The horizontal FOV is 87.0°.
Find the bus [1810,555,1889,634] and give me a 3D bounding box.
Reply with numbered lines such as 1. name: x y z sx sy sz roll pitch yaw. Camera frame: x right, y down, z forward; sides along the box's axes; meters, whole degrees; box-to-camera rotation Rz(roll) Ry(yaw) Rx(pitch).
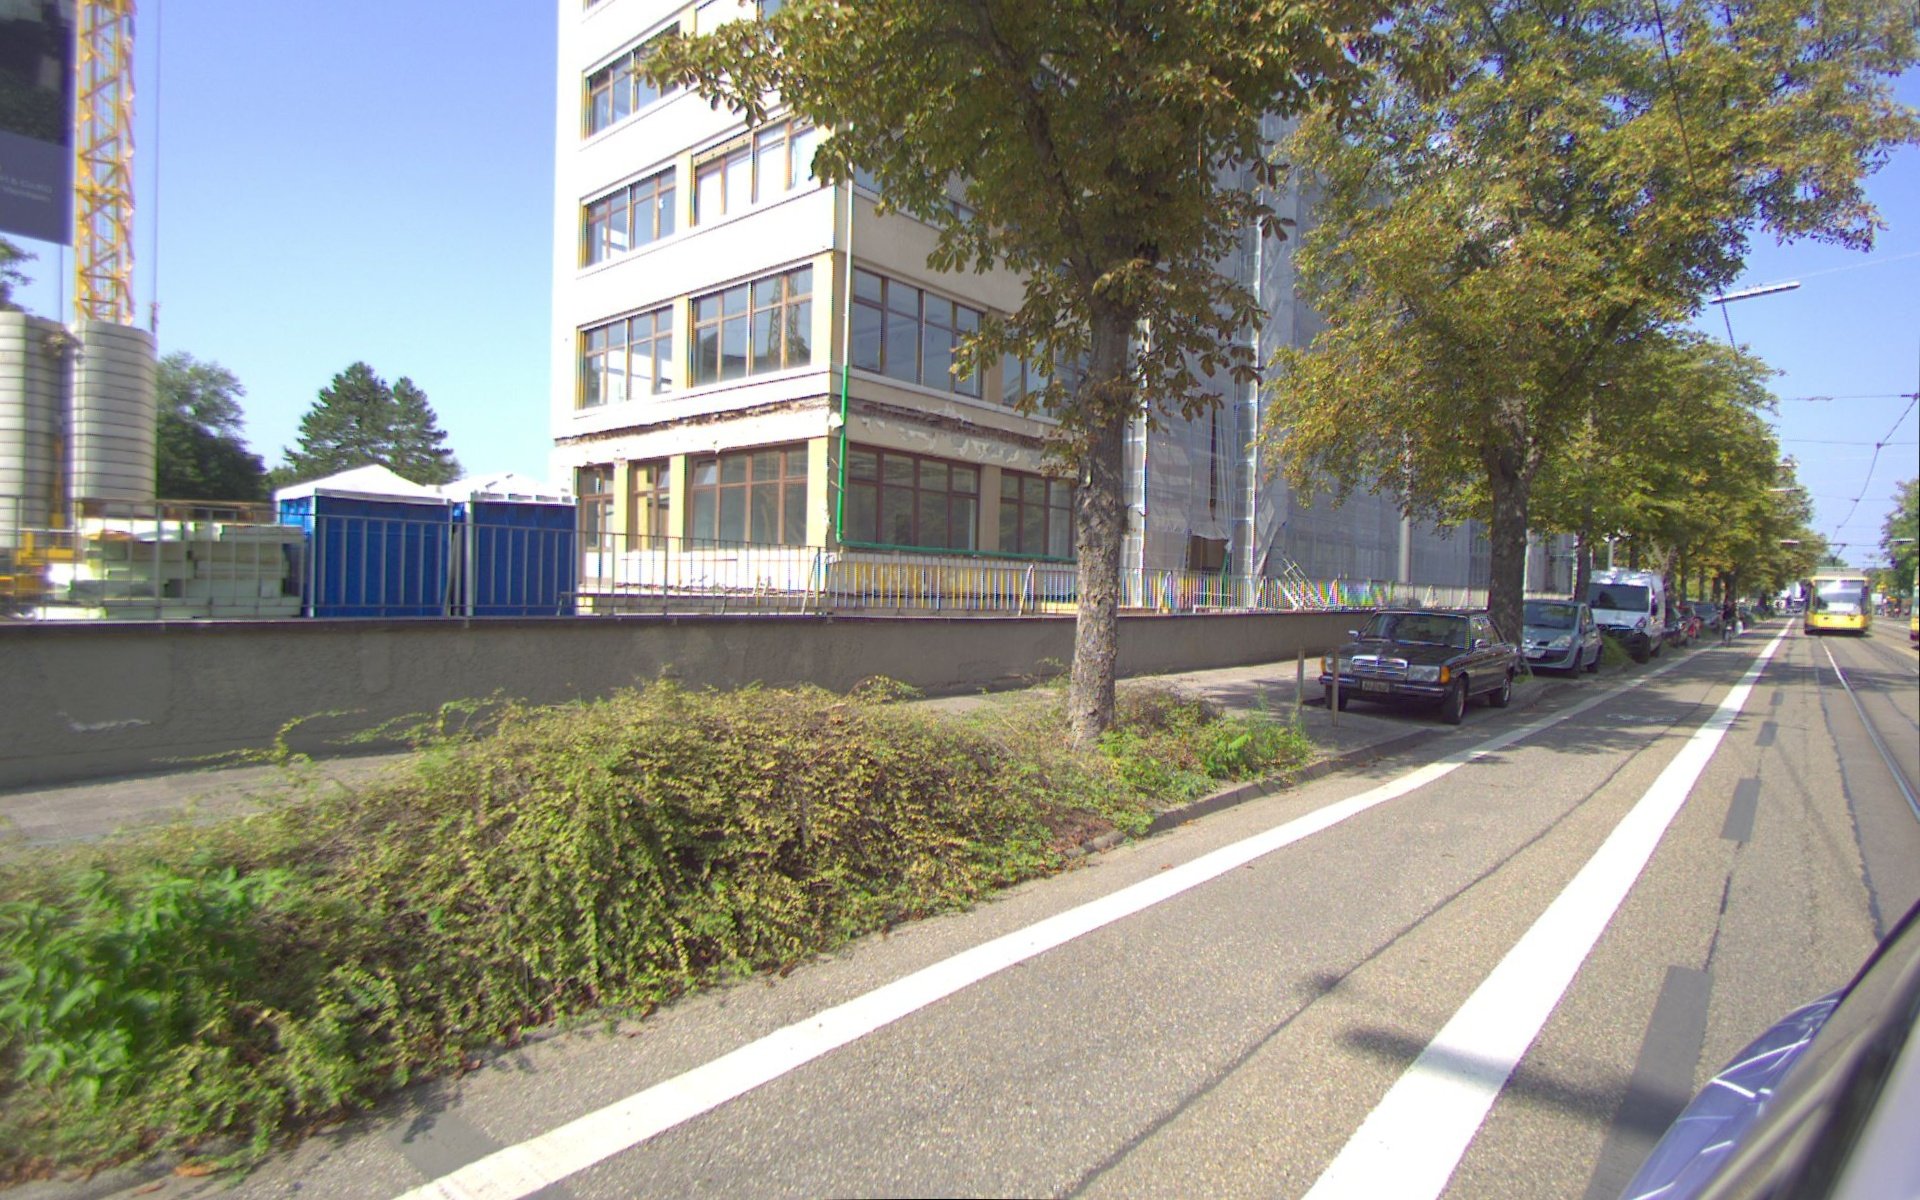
1. bus: 46.884 -0.303 53.248 2.893 3.841 9.174 1 1 43

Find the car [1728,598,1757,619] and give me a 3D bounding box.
1. car: 61.019 0.651 78.913 1.644 1.446 4.026 4 3 39

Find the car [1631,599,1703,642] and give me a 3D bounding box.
1. car: 25.638 0.680 36.629 1.615 1.391 4.755 3 2 41

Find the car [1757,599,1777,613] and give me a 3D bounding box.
1. car: 92.179 0.696 115.557 1.739 1.504 4.374 4 2 39

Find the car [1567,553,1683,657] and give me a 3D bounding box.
1. car: 19.071 0.092 28.901 2.080 2.583 5.423 6 4 39

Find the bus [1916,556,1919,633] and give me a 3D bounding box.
1. bus: 49.645 -0.269 50.592 2.469 3.837 8.989 1 1 42

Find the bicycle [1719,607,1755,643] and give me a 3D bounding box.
1. bicycle: 27.177 0.855 35.393 0.786 1.159 2.269 1 1 42

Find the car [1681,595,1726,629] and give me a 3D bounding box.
1. car: 38.617 0.607 52.531 1.750 1.713 4.334 1 0 39

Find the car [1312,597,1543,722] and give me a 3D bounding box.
1. car: 6.786 0.708 14.400 1.752 1.394 4.649 4 3 41

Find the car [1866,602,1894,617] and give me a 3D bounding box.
1. car: 93.521 0.937 102.906 1.827 1.392 4.448 5 3 40

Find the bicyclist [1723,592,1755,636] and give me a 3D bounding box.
1. bicyclist: 27.647 0.486 35.912 0.787 1.488 1.099 1 1 42

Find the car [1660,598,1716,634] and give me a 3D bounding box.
1. car: 32.022 0.674 44.479 1.615 1.431 3.941 3 2 41

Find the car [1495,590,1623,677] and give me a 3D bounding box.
1. car: 12.884 0.667 21.682 1.663 1.637 3.819 3 2 41

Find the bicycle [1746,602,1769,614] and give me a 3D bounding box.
1. bicycle: 80.567 0.817 102.238 1.766 1.077 0.785 4 2 39

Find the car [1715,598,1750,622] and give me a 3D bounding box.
1. car: 53.172 0.678 69.647 1.645 1.529 3.722 4 3 41
